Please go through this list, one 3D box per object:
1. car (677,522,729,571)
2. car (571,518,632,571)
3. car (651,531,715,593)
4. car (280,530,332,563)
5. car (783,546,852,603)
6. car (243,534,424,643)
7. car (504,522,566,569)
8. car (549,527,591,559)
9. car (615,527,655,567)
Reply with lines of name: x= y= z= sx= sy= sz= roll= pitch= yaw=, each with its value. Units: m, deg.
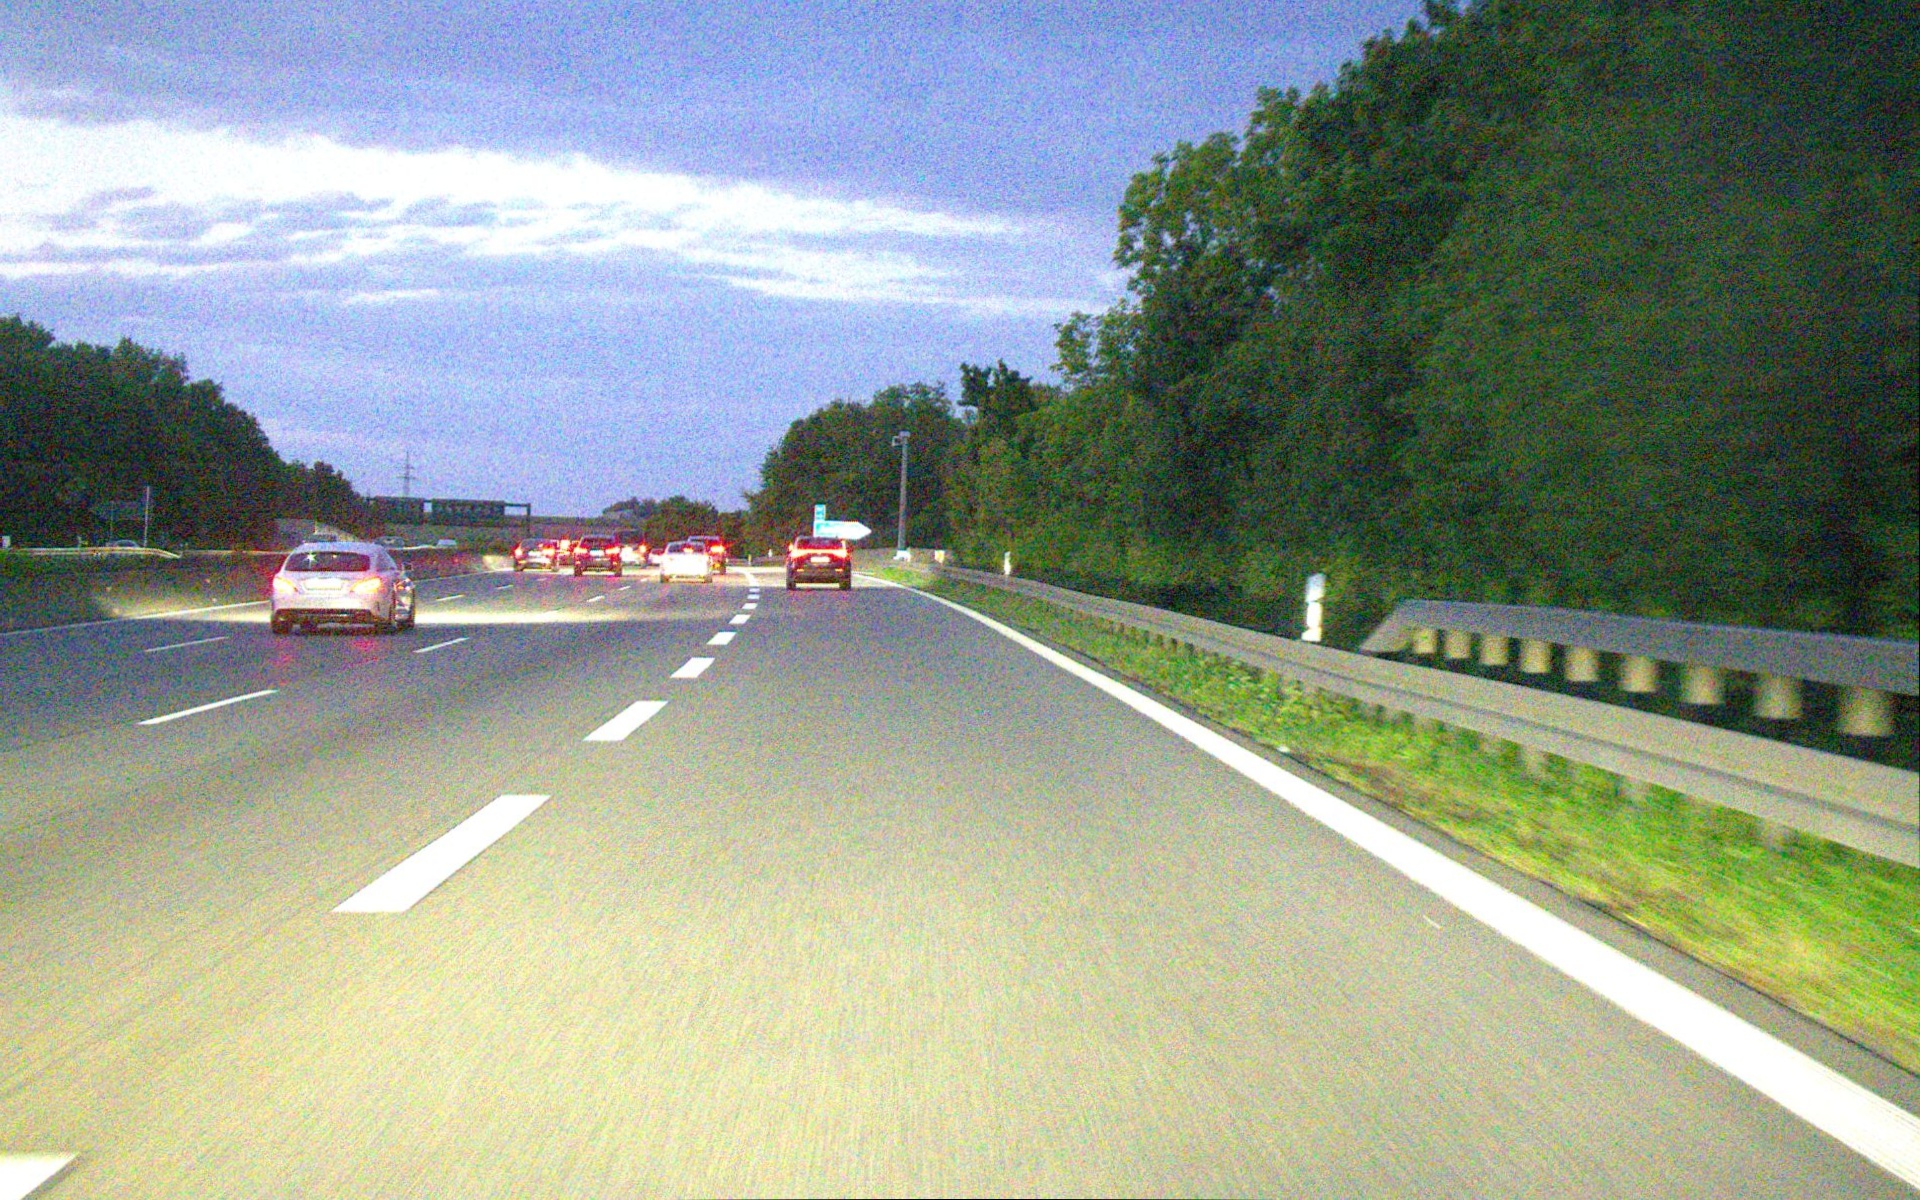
car: x=-10.707 y=-2.235 z=143.526 sx=1.993 sy=2.007 sz=4.001 roll=0 pitch=1 yaw=-2
car: x=-13.967 y=-2.169 z=133.932 sx=2.071 sy=2.007 sz=4.000 roll=0 pitch=1 yaw=-2
car: x=-9.301 y=-1.297 z=115.577 sx=1.993 sy=2.007 sz=4.001 roll=1 pitch=1 yaw=-3
car: x=-34.103 y=-2.814 z=179.453 sx=1.993 sy=1.659 sz=5.011 roll=1 pitch=1 yaw=-3
car: x=-4.230 y=-0.767 z=101.702 sx=1.993 sy=1.653 sz=4.315 roll=0 pitch=1 yaw=-3
car: x=-9.830 y=-0.220 z=54.287 sx=1.993 sy=1.637 sz=4.555 roll=0 pitch=1 yaw=0
car: x=-18.408 y=-2.381 z=149.153 sx=2.104 sy=2.007 sz=4.000 roll=0 pitch=1 yaw=1
car: x=-26.061 y=-3.808 z=229.858 sx=1.994 sy=2.006 sz=4.000 roll=5 pitch=1 yaw=3
car: x=-16.634 y=-2.684 z=176.151 sx=1.993 sy=2.007 sz=4.001 roll=1 pitch=1 yaw=-5
